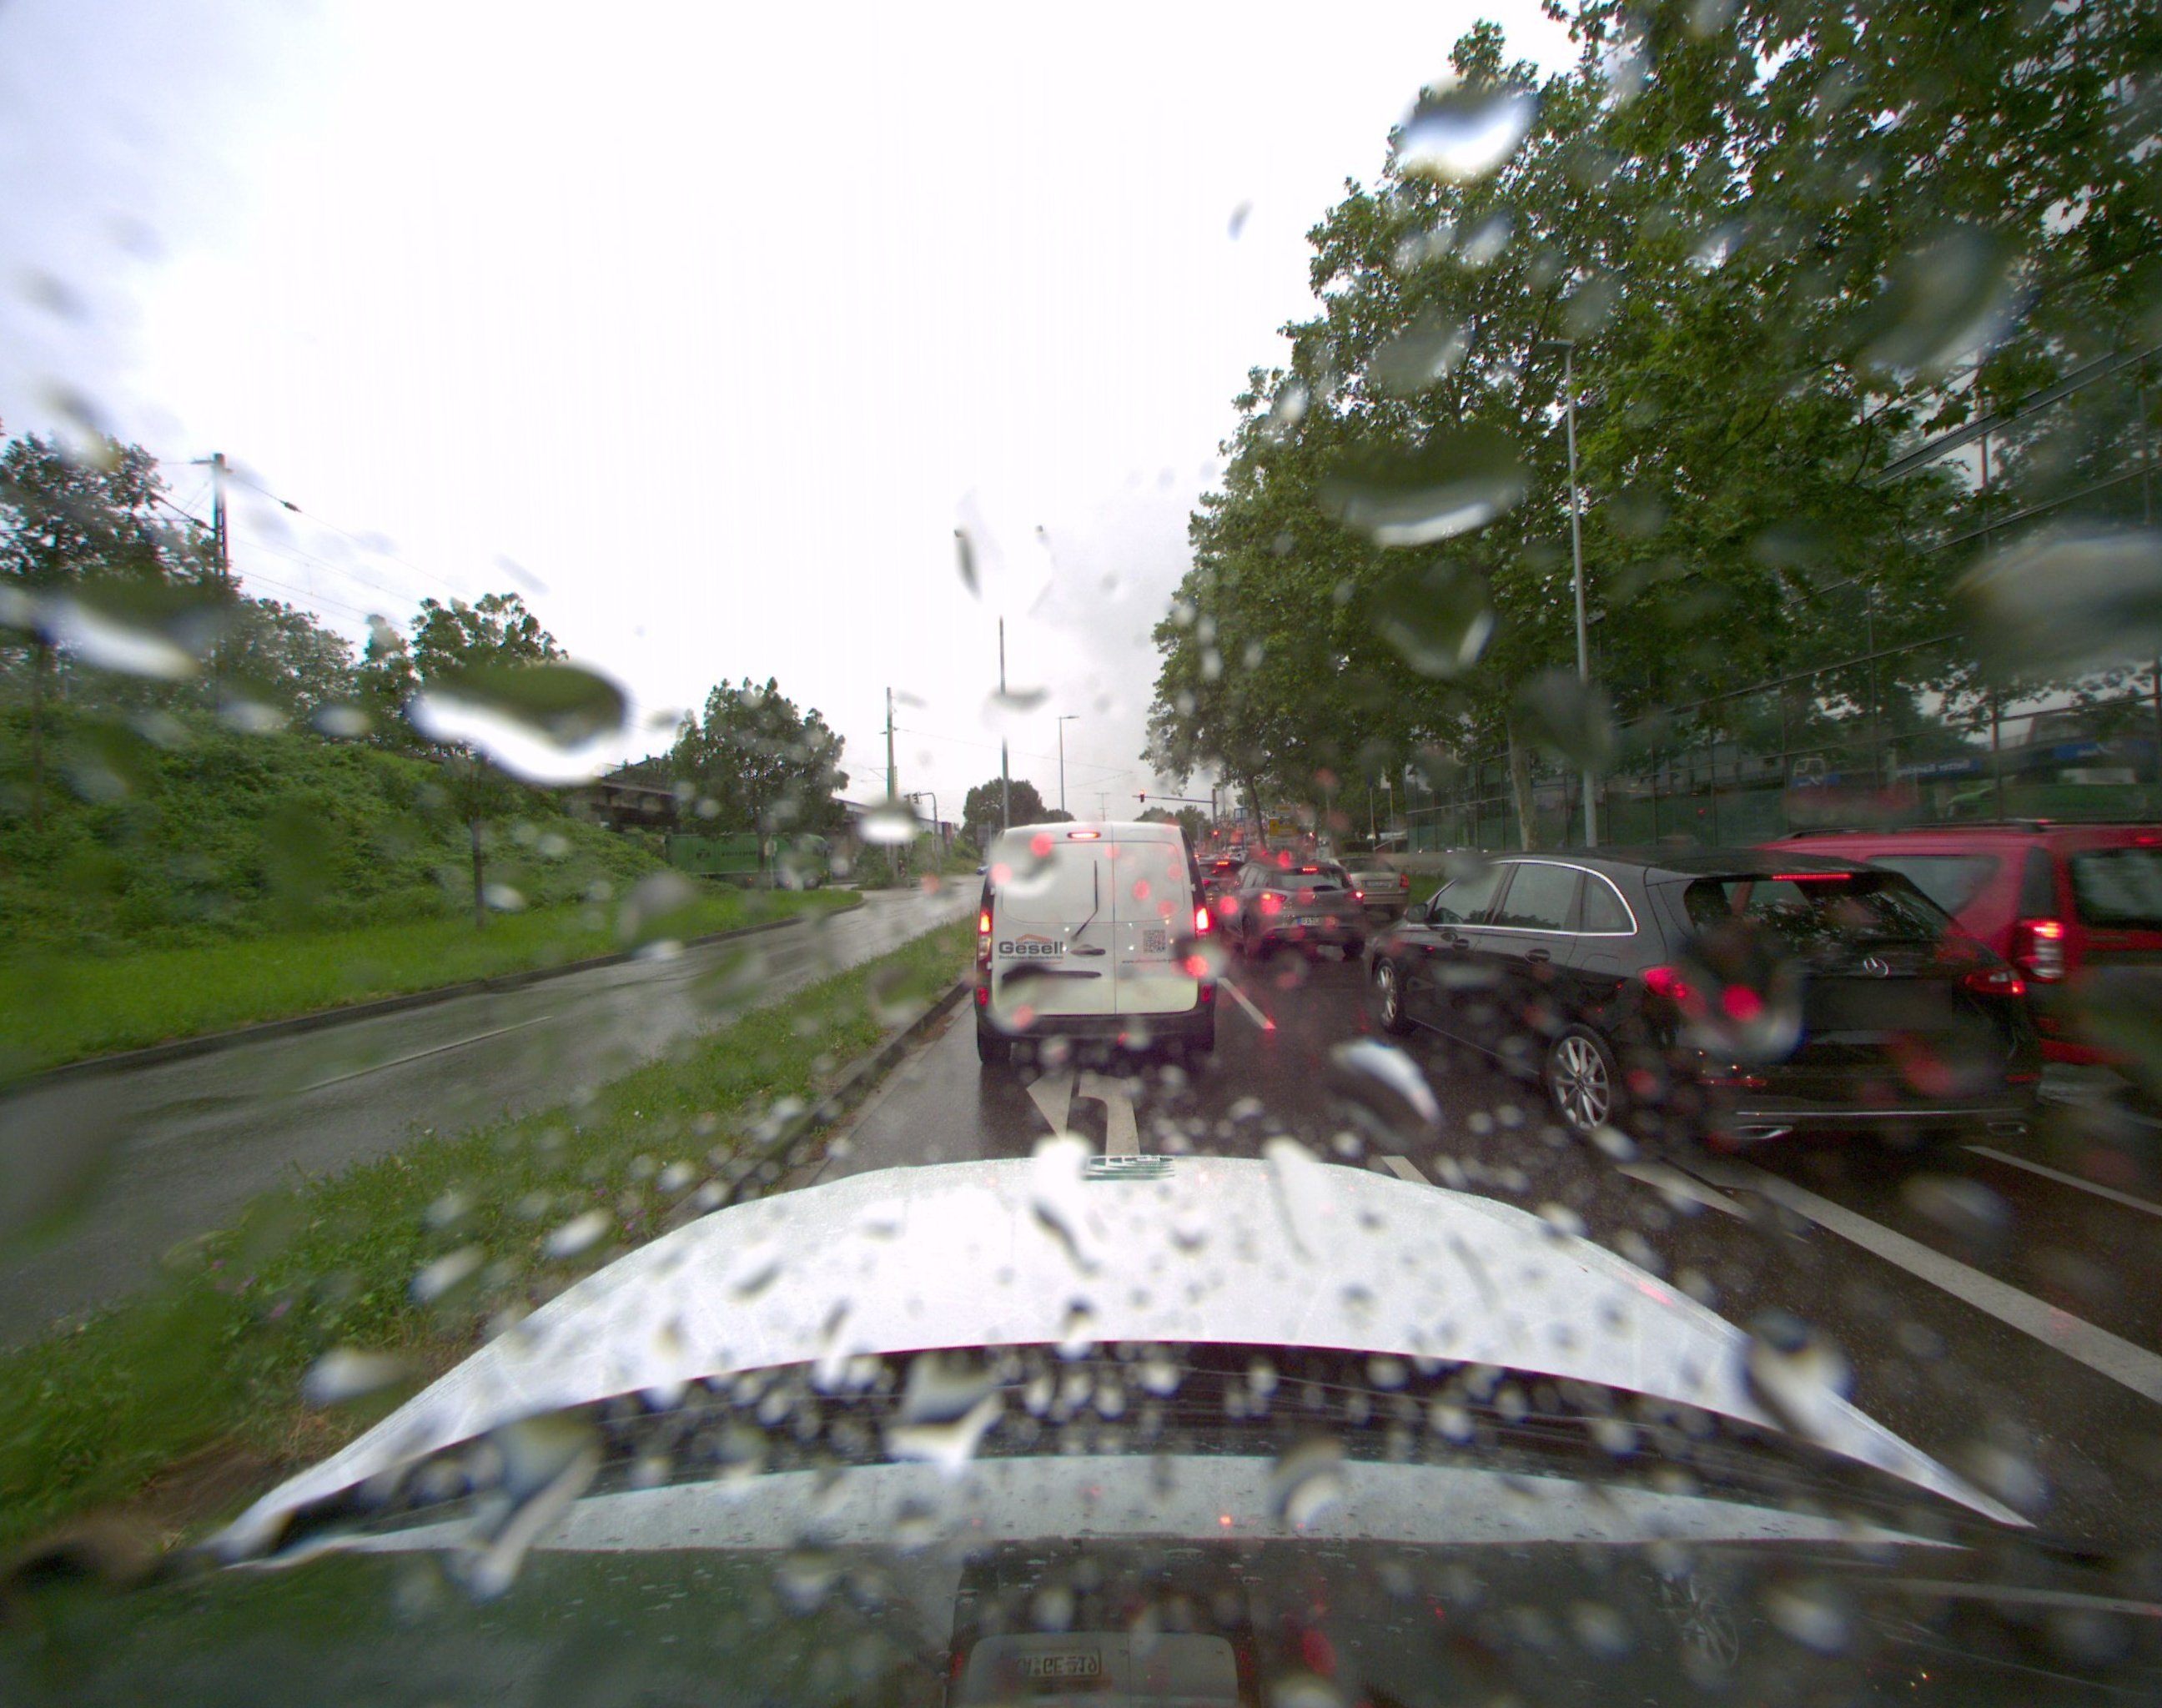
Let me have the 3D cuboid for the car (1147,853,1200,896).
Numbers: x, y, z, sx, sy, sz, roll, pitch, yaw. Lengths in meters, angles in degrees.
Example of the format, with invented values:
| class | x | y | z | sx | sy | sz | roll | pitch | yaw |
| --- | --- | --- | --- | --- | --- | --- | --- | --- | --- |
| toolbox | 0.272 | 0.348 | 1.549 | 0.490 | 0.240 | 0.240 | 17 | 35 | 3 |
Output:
| class | x | y | z | sx | sy | sz | roll | pitch | yaw |
| --- | --- | --- | --- | --- | --- | --- | --- | --- | --- |
| car | 3.754 | 0.816 | 33.573 | 1.847 | 1.650 | 3.844 | -1 | -1 | 2 |

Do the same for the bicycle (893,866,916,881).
| class | x | y | z | sx | sy | sz | roll | pitch | yaw |
| --- | --- | --- | --- | --- | --- | --- | --- | --- | --- |
| bicycle | -12.134 | 1.335 | 56.020 | 1.045 | 0.952 | 2.866 | -2 | 0 | -22 |

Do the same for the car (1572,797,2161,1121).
| class | x | y | z | sx | sy | sz | roll | pitch | yaw |
| --- | --- | --- | --- | --- | --- | --- | --- | --- | --- |
| car | 5.974 | 0.575 | 6.413 | 1.704 | 1.694 | 4.273 | 0 | -1 | 1 |

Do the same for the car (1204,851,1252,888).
| class | x | y | z | sx | sy | sz | roll | pitch | yaw |
| --- | --- | --- | --- | --- | --- | --- | --- | --- | --- |
| car | 6.905 | 0.713 | 38.613 | 1.702 | 1.650 | 3.844 | -1 | -1 | 2 |

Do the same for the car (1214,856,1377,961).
| class | x | y | z | sx | sy | sz | roll | pitch | yaw |
| --- | --- | --- | --- | --- | --- | --- | --- | --- | --- |
| car | 3.272 | 0.749 | 13.125 | 1.677 | 1.408 | 3.844 | 0 | 0 | 1 |

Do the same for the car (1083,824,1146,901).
| class | x | y | z | sx | sy | sz | roll | pitch | yaw |
| --- | --- | --- | --- | --- | --- | --- | --- | --- | --- |
| car | 1.079 | 0.257 | 26.511 | 1.847 | 2.296 | 3.844 | -1 | 0 | 2 |

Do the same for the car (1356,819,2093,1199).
| class | x | y | z | sx | sy | sz | roll | pitch | yaw |
| --- | --- | --- | --- | --- | --- | --- | --- | --- | --- |
| car | 3.375 | 0.650 | 5.449 | 1.741 | 1.554 | 4.091 | -1 | 0 | 1 |

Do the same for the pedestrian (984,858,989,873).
| class | x | y | z | sx | sy | sz | roll | pitch | yaw |
| --- | --- | --- | --- | --- | --- | --- | --- | --- | --- |
| pedestrian | -11.239 | 1.370 | 96.560 | 0.541 | 1.716 | 0.563 | 0 | -1 | -2 |

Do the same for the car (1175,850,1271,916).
| class | x | y | z | sx | sy | sz | roll | pitch | yaw |
| --- | --- | --- | --- | --- | --- | --- | --- | --- | --- |
| car | 3.501 | 0.665 | 20.681 | 1.847 | 1.460 | 3.844 | -1 | 0 | 2 |

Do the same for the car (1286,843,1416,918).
| class | x | y | z | sx | sy | sz | roll | pitch | yaw |
| --- | --- | --- | --- | --- | --- | --- | --- | --- | --- |
| car | 6.264 | 0.549 | 19.363 | 1.869 | 1.613 | 4.002 | 0 | 0 | 2 |

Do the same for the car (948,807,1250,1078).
| class | x | y | z | sx | sy | sz | roll | pitch | yaw |
| --- | --- | --- | --- | --- | --- | --- | --- | --- | --- |
| car | 0.192 | 0.592 | 7.771 | 1.986 | 1.776 | 4.587 | -1 | 0 | 2 |

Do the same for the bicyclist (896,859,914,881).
| class | x | y | z | sx | sy | sz | roll | pitch | yaw |
| --- | --- | --- | --- | --- | --- | --- | --- | --- | --- |
| bicyclist | -12.120 | 1.087 | 55.975 | 1.045 | 1.450 | 0.723 | -2 | 0 | -23 |

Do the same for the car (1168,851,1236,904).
| class | x | y | z | sx | sy | sz | roll | pitch | yaw |
| --- | --- | --- | --- | --- | --- | --- | --- | --- | --- |
| car | 4.059 | 0.731 | 27.900 | 1.847 | 1.649 | 3.844 | -1 | 0 | 2 |

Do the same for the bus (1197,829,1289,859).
| class | x | y | z | sx | sy | sz | roll | pitch | yaw |
| --- | --- | --- | --- | --- | --- | --- | --- | --- | --- |
| bus | 21.894 | -1.350 | 110.589 | 11.926 | 3.423 | 2.316 | -2 | 0 | 1 |

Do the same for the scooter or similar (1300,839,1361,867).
| class | x | y | z | sx | sy | sz | roll | pitch | yaw |
| --- | --- | --- | --- | --- | --- | --- | --- | --- | --- |
| scooter or similar | 23.450 | -0.078 | 76.684 | 1.905 | 2.446 | 5.257 | -1 | 0 | -39 |

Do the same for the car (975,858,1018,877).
| class | x | y | z | sx | sy | sz | roll | pitch | yaw |
| --- | --- | --- | --- | --- | --- | --- | --- | --- | --- |
| car | -8.707 | 1.392 | 83.907 | 4.006 | 1.887 | 1.984 | 0 | 0 | -25 |

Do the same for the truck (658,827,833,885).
| class | x | y | z | sx | sy | sz | roll | pitch | yaw |
| --- | --- | --- | --- | --- | --- | --- | --- | --- | --- |
| truck | -21.343 | 0.043 | 52.333 | 10.105 | 3.371 | 2.322 | -2 | 0 | -35 |
